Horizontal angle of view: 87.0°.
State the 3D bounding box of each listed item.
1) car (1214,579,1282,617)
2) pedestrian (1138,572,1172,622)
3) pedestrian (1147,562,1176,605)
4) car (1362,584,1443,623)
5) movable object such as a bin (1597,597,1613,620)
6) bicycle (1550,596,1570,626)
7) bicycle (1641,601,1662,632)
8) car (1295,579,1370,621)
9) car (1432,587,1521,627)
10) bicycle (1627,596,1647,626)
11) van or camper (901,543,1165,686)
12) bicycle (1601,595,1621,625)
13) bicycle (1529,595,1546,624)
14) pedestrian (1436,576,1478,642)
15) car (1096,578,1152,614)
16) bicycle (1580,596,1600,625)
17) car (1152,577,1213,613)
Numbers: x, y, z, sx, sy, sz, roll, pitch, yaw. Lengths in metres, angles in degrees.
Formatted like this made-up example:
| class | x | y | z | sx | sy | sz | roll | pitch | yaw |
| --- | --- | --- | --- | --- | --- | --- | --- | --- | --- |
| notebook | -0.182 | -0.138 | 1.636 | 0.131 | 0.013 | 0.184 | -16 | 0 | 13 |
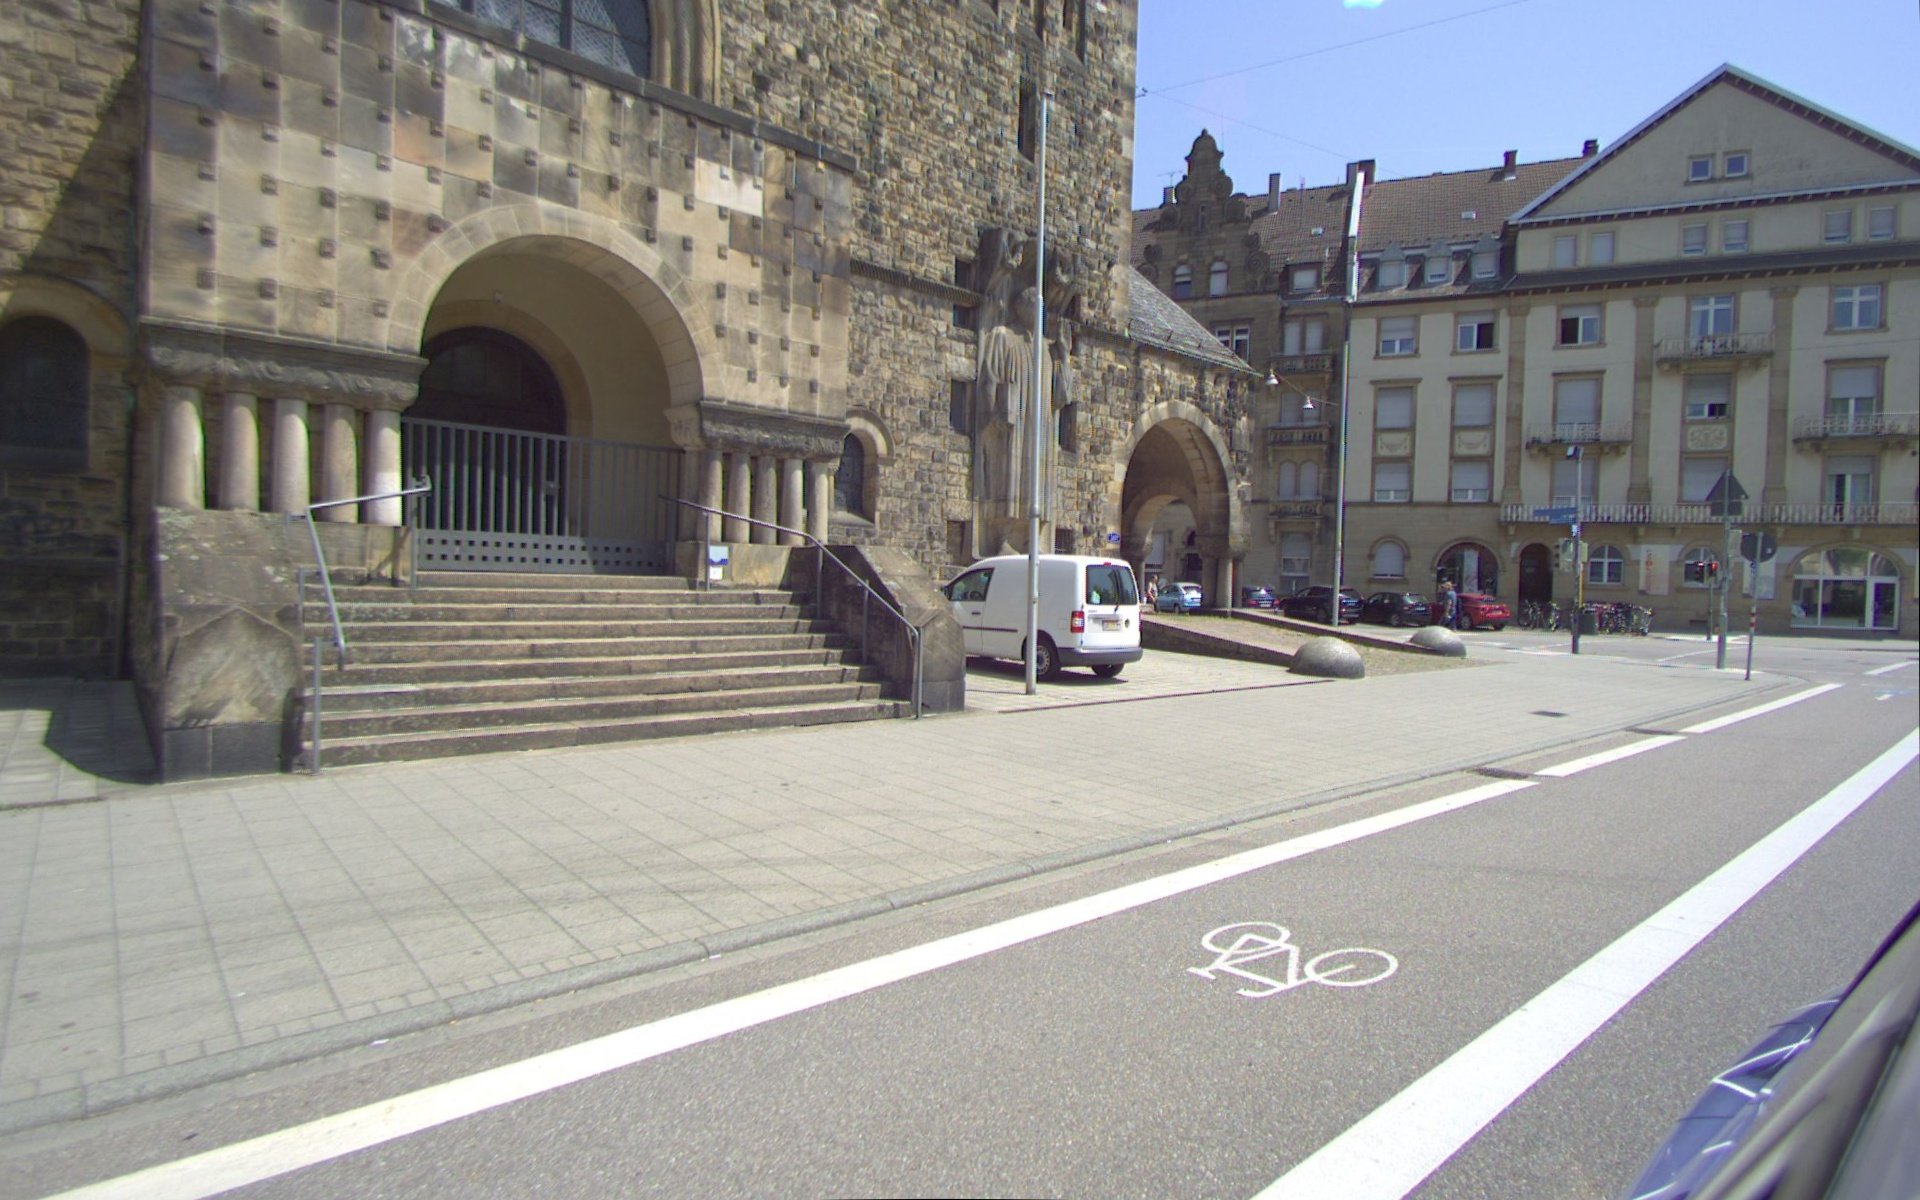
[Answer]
| class | x | y | z | sx | sy | sz | roll | pitch | yaw |
| --- | --- | --- | --- | --- | --- | --- | --- | --- | --- |
| car | 13.420 | -0.130 | 47.345 | 1.583 | 1.594 | 3.235 | -1 | 3 | -15 |
| pedestrian | 6.220 | -0.111 | 32.287 | 0.789 | 1.578 | 0.710 | 1 | 1 | 42 |
| pedestrian | 10.406 | -0.858 | 52.322 | 0.850 | 2.140 | 1.101 | 1 | 1 | -35 |
| car | 19.435 | 0.127 | 44.572 | 1.583 | 1.497 | 3.235 | -1 | 3 | -15 |
| movable object such as a bin | 28.804 | 0.381 | 45.192 | 0.586 | 1.007 | 0.576 | 1 | 1 | 32 |
| bicycle | 24.995 | 0.449 | 42.175 | 0.559 | 1.165 | 1.790 | 1 | 2 | 26 |
| bicycle | 27.909 | 0.655 | 40.815 | 0.562 | 1.165 | 2.032 | 2 | 2 | 38 |
| car | 16.765 | -0.044 | 45.741 | 1.583 | 1.685 | 3.235 | -1 | 3 | -15 |
| car | 21.980 | 0.270 | 43.205 | 1.583 | 1.497 | 3.235 | -1 | 3 | -15 |
| bicycle | 28.358 | 0.437 | 42.382 | 0.562 | 1.165 | 1.781 | 2 | 2 | 37 |
| van or camper | 1.029 | 0.116 | 15.949 | 1.772 | 1.847 | 3.994 | 0 | 4 | -42 |
| bicycle | 27.478 | 0.420 | 42.702 | 0.562 | 1.165 | 1.781 | 2 | 2 | 37 |
| bicycle | 24.469 | 0.399 | 42.912 | 0.560 | 1.165 | 1.787 | 1 | 2 | 29 |
| pedestrian | 14.300 | 0.256 | 29.096 | 0.817 | 1.845 | 0.745 | 1 | 1 | -34 |
| car | 8.023 | -0.242 | 49.719 | 1.583 | 1.594 | 3.235 | -1 | 3 | -14 |
| bicycle | 26.823 | 0.440 | 43.076 | 0.562 | 1.165 | 1.781 | 2 | 2 | 37 |
| car | 10.763 | -0.266 | 49.111 | 1.583 | 1.594 | 3.235 | -1 | 3 | -15 |
